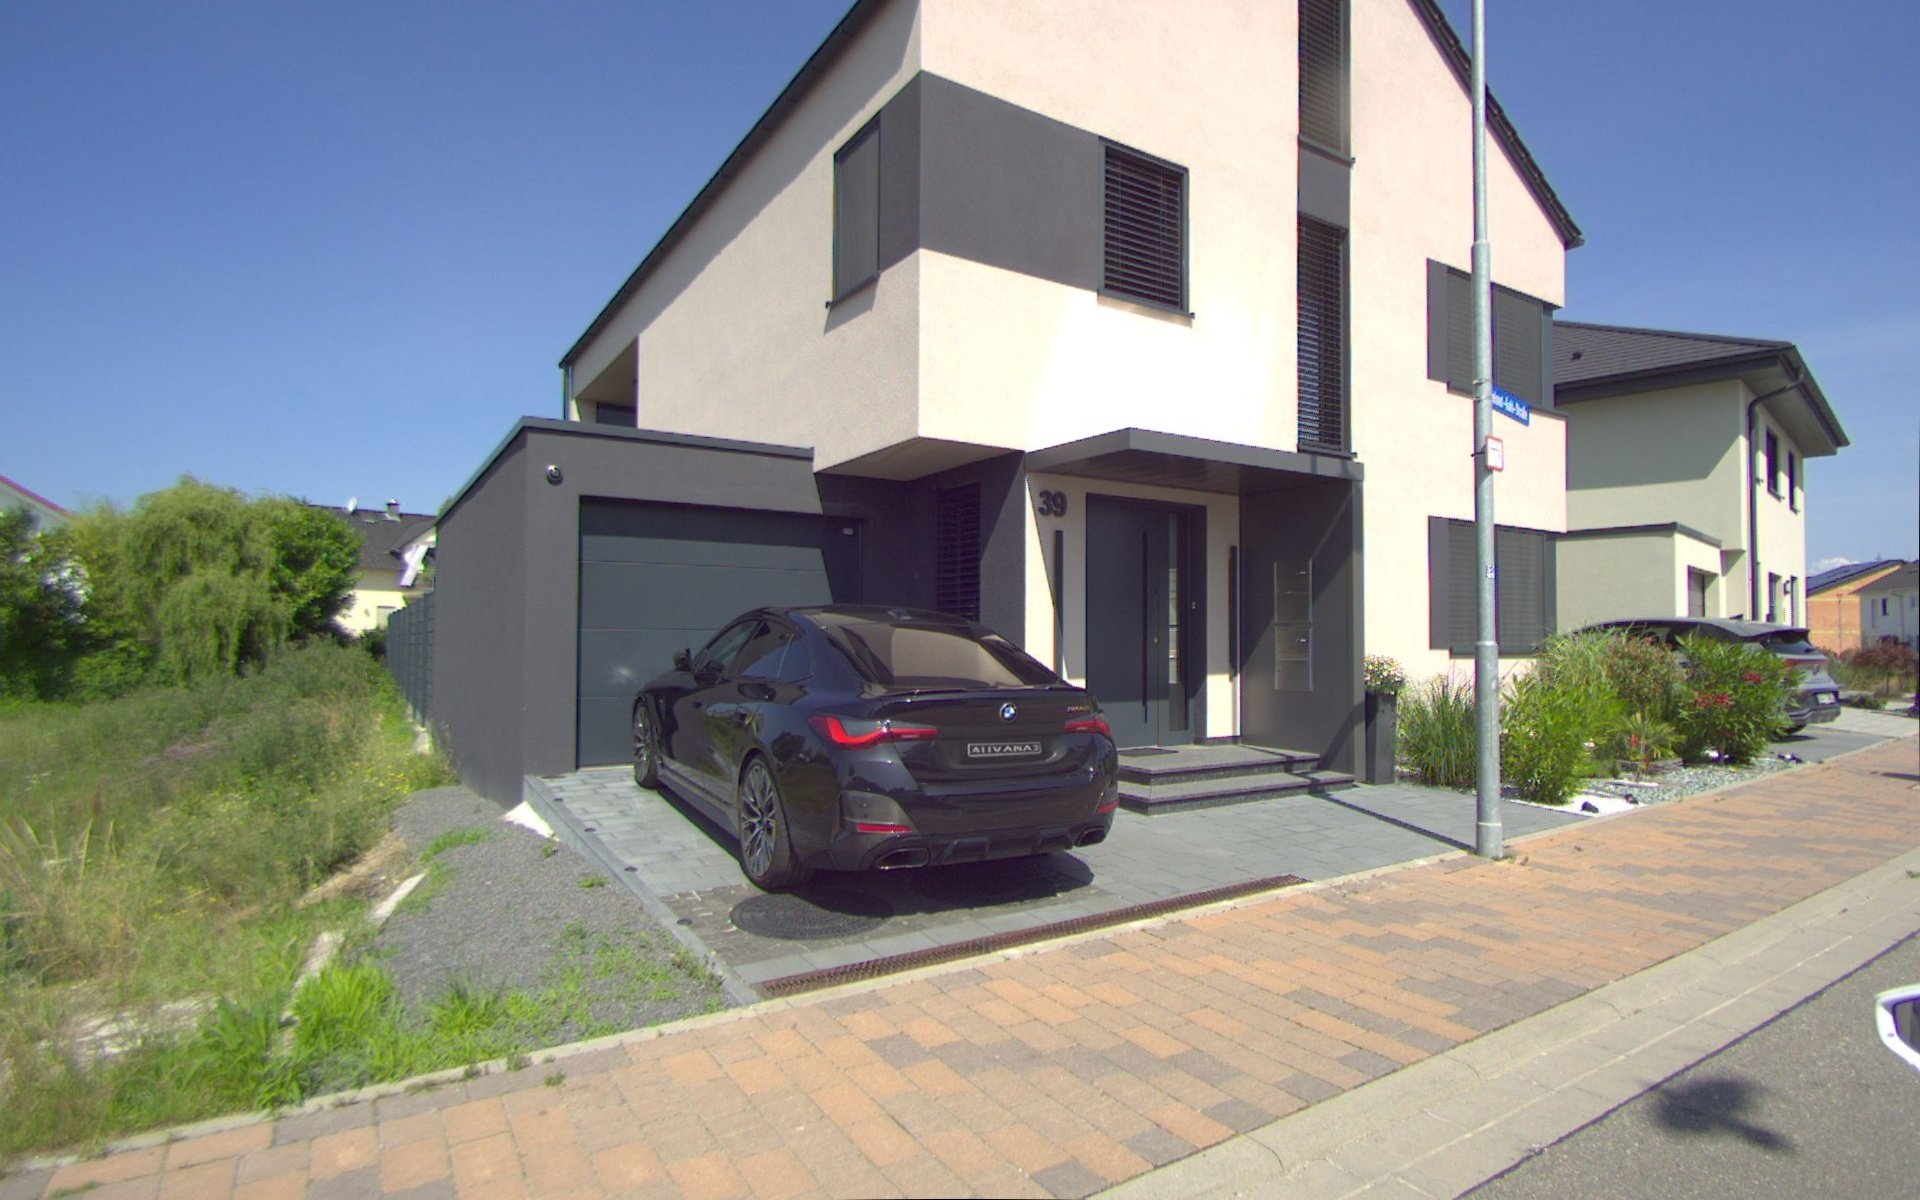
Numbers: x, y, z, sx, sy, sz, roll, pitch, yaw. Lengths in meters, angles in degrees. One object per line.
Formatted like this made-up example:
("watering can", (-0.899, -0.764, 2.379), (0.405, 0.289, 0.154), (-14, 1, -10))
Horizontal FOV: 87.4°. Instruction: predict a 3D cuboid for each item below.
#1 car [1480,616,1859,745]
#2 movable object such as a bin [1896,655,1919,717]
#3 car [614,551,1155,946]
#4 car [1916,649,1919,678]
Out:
("car", (9.602, 1.002, 13.950), (1.733, 1.506, 3.969), (1, -2, -29))
("movable object such as a bin", (15.109, 1.353, 15.721), (0.420, 0.939, 0.609), (3, 0, -42))
("car", (-0.866, 0.668, 6.544), (1.750, 1.653, 4.353), (1, -1, -31))
("car", (53.776, 3.468, 54.569), (1.754, 1.617, 3.993), (-1, -3, 30))
